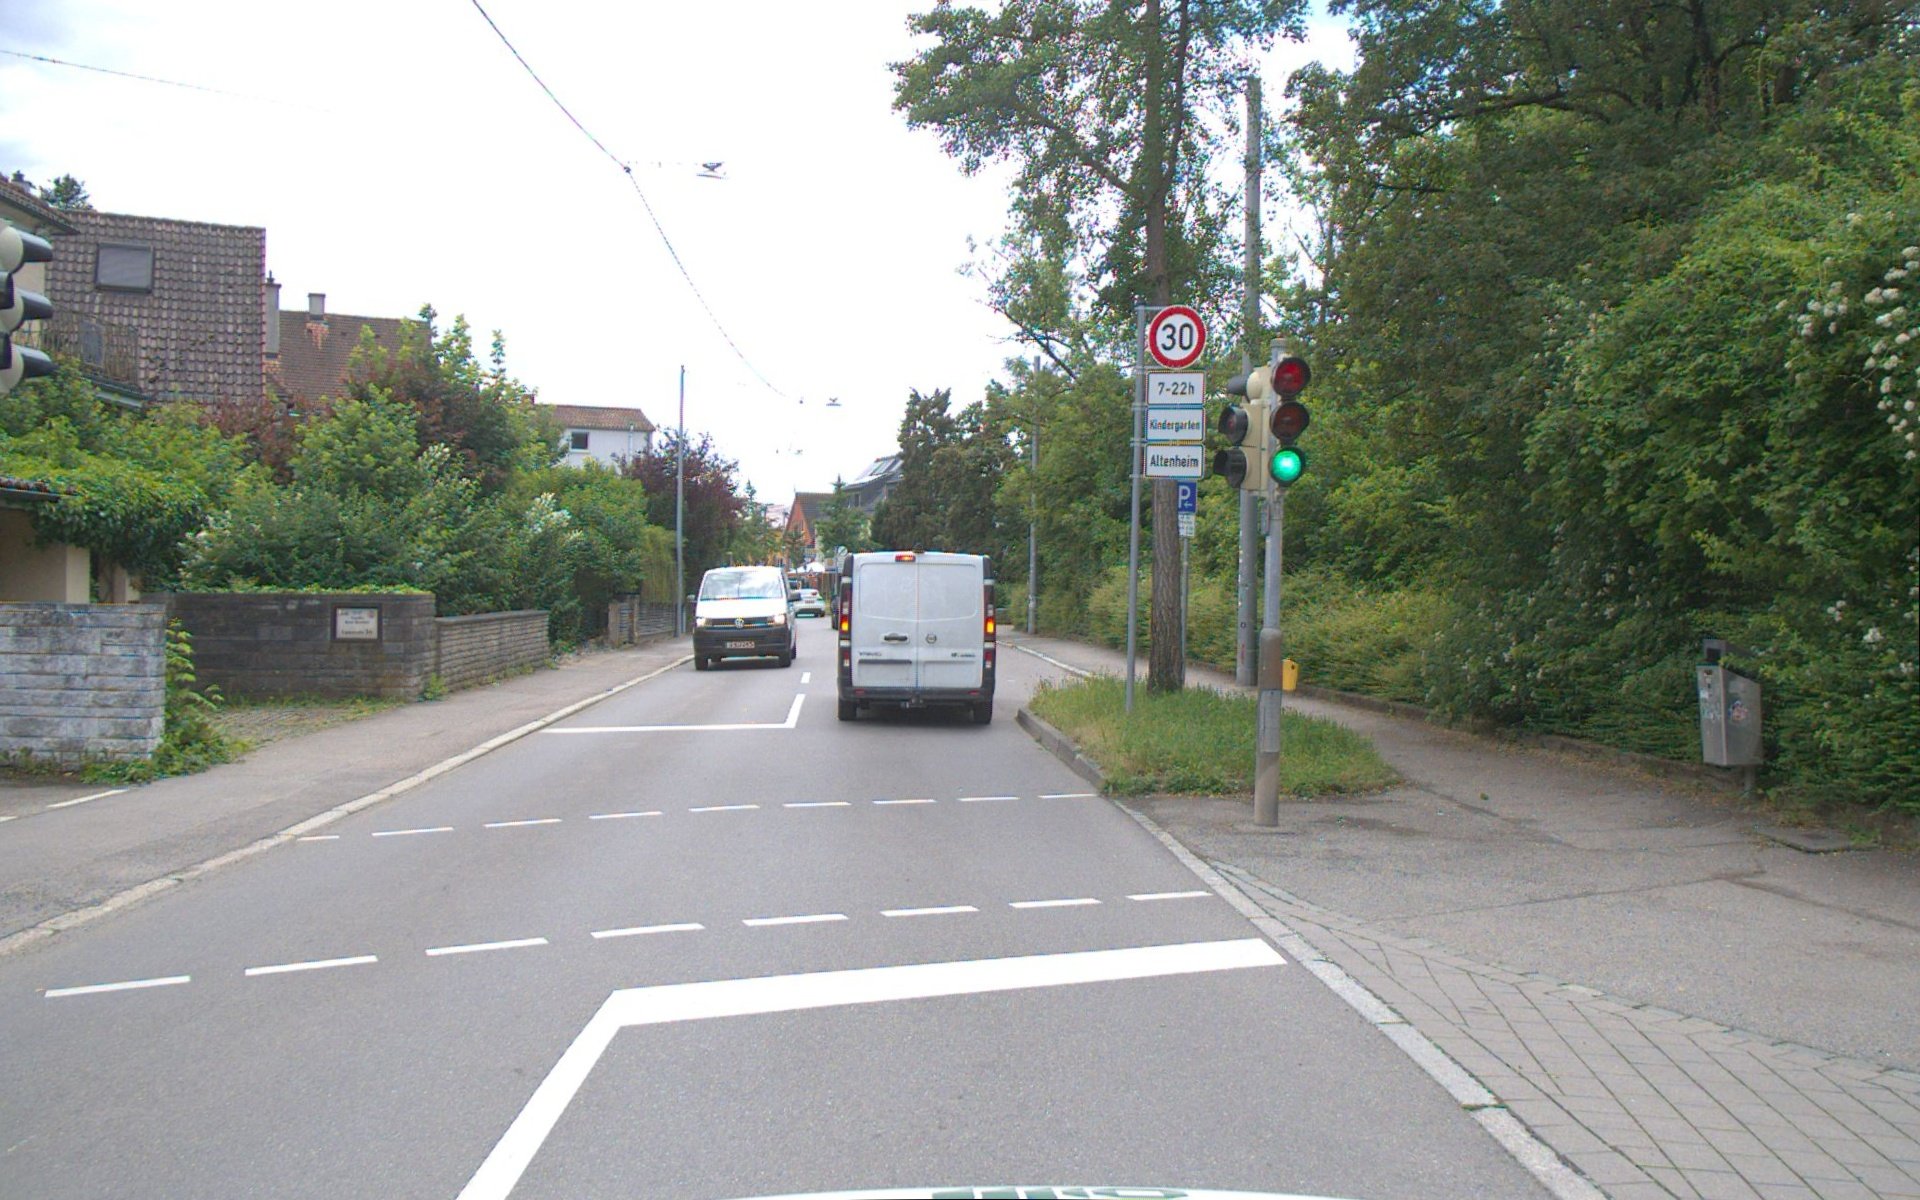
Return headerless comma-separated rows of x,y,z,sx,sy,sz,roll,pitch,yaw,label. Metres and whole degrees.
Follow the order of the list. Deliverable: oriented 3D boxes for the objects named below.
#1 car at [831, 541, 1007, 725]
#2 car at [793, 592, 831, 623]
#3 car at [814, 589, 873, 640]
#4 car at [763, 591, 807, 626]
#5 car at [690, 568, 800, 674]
-0.627,0.380,20.639,1.892,1.998,4.397,1,0,-5,car
-8.834,0.459,98.584,1.792,1.758,3.989,1,0,-11,car
-4.544,0.578,64.961,1.857,1.892,4.404,1,0,1,car
-8.179,0.373,77.062,1.848,1.538,4.105,-1,0,-8,car
-4.273,0.360,33.550,1.830,1.944,5.112,-1,1,-4,car
